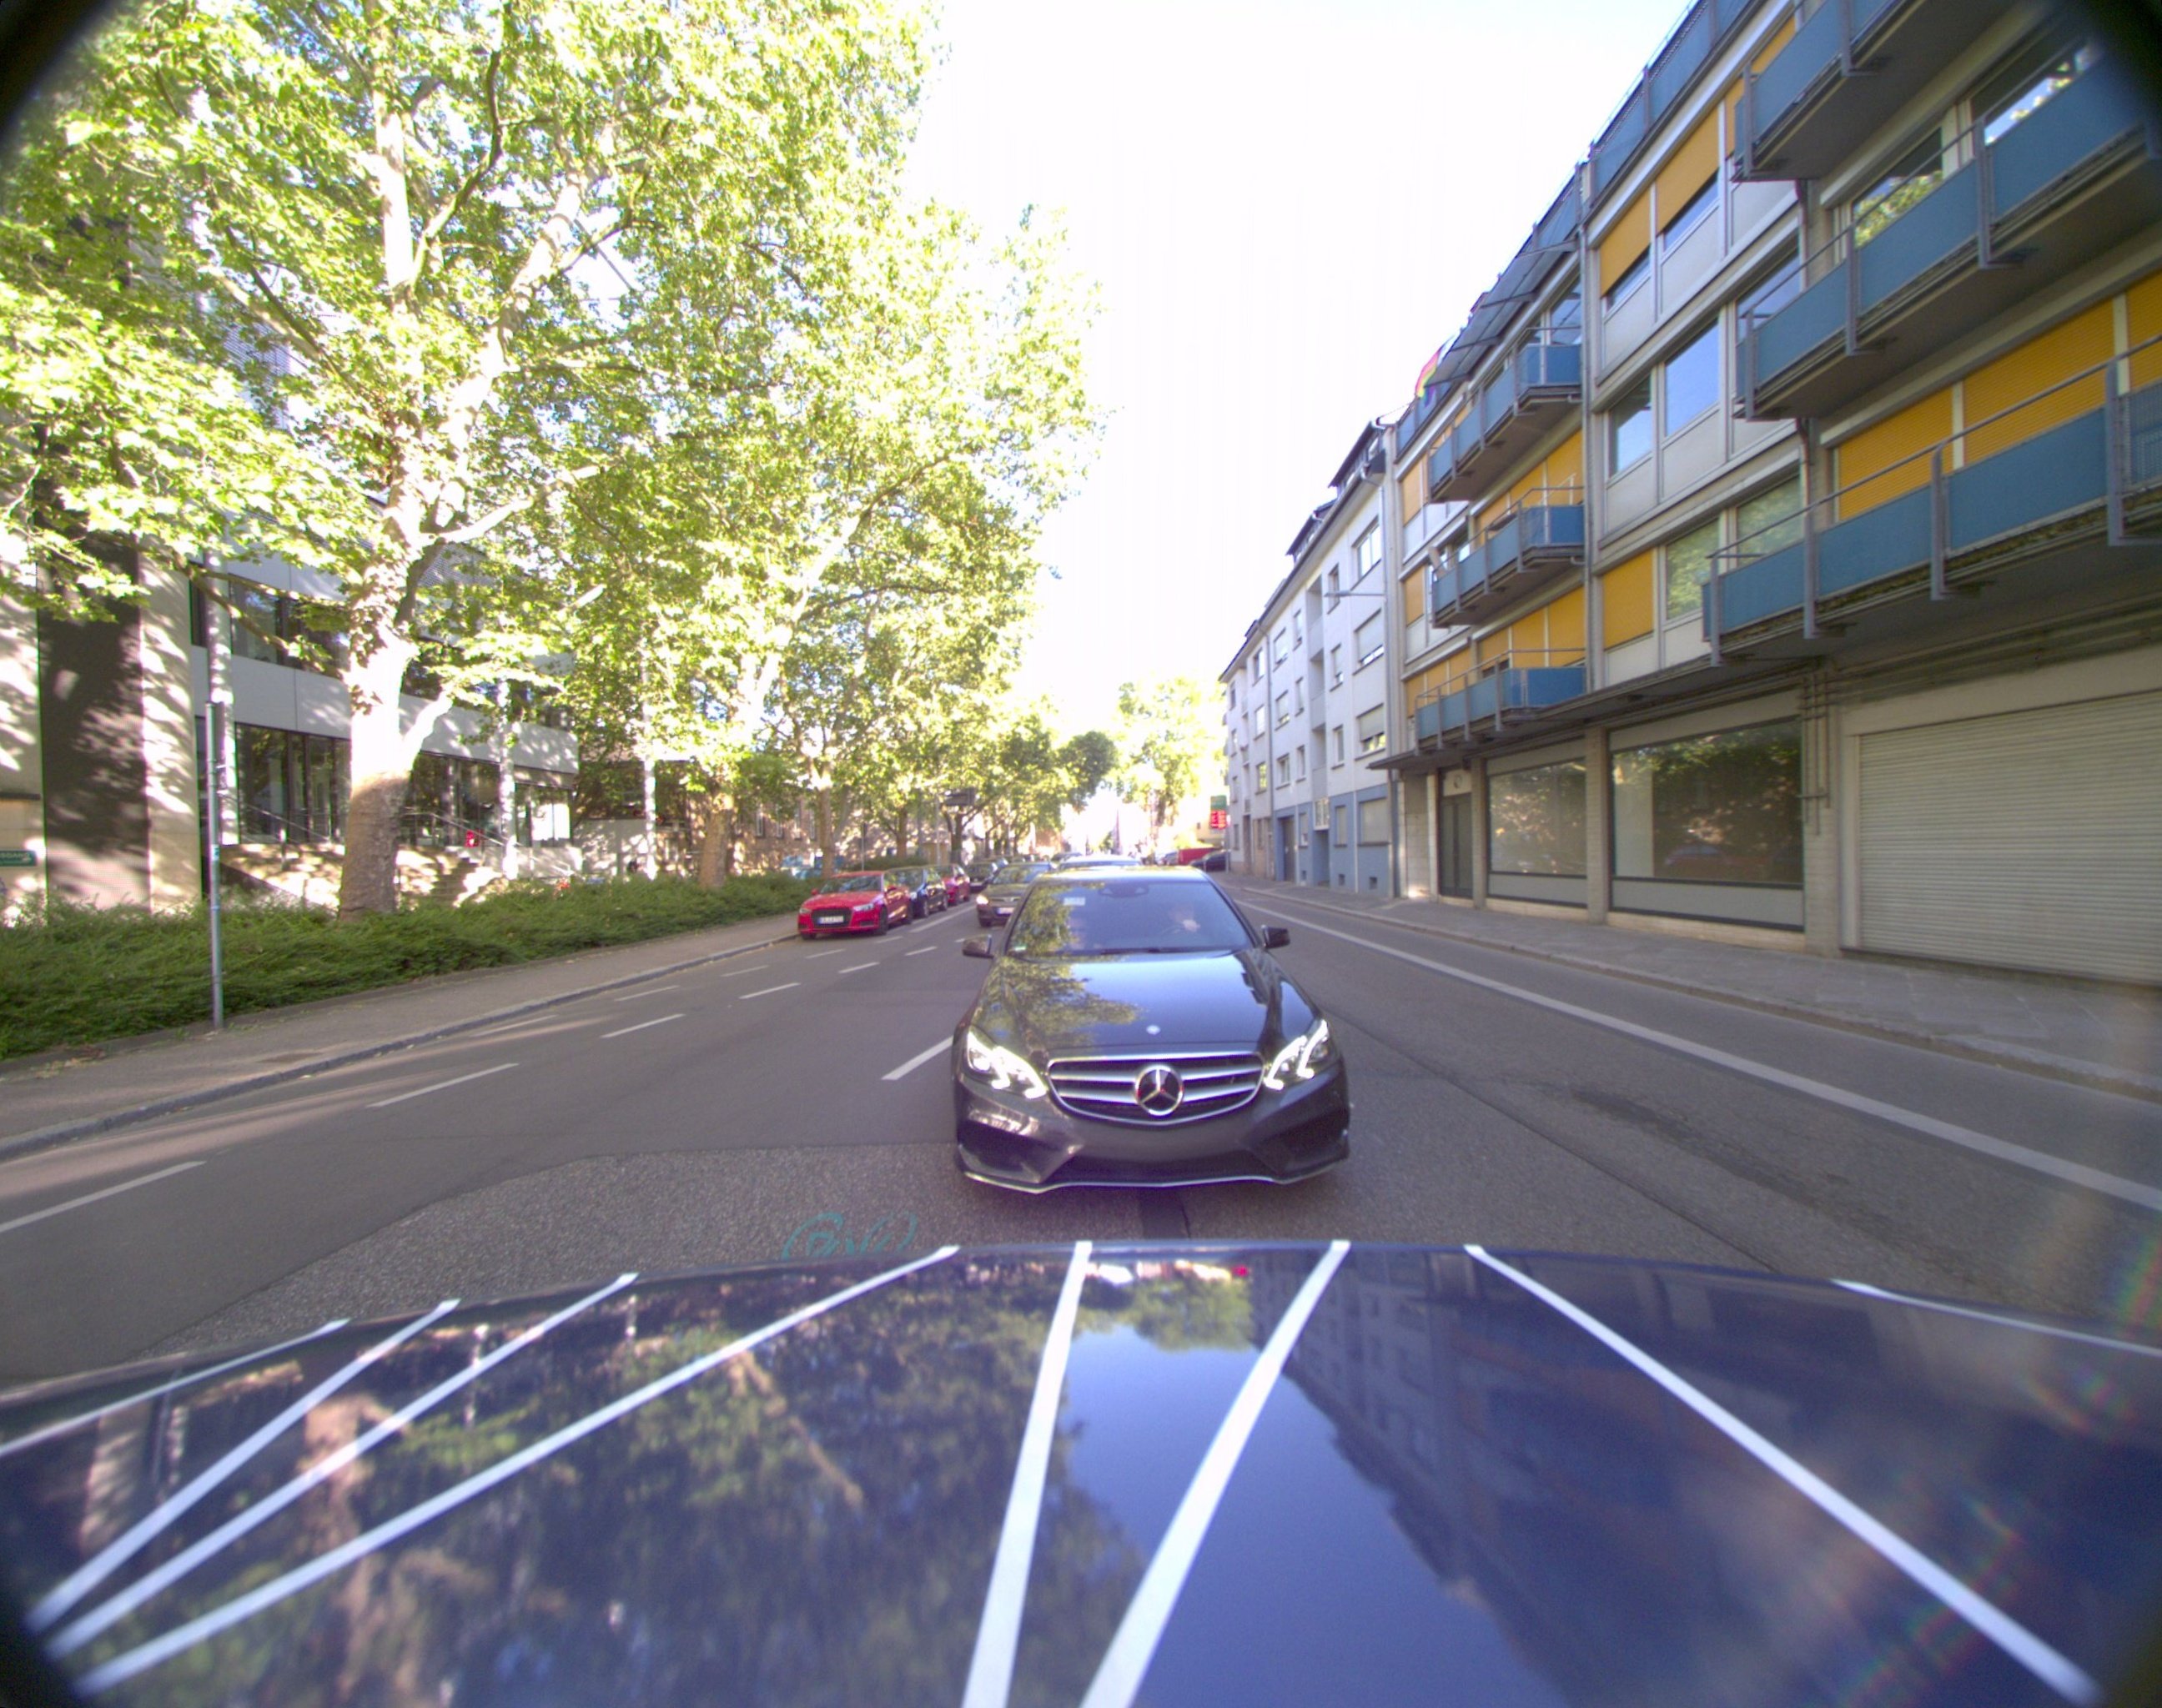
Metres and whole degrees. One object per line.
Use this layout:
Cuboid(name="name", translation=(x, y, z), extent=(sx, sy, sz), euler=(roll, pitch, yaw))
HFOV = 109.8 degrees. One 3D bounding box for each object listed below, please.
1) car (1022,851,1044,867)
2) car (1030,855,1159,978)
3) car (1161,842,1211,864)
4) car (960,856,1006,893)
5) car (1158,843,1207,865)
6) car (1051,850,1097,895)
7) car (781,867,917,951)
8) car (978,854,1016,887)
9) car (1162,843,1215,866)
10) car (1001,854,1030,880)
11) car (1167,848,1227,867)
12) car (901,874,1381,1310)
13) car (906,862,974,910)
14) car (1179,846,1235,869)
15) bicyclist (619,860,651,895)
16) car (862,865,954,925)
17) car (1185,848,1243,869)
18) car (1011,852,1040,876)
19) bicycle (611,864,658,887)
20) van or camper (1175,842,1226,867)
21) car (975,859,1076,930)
Cuboid(name="car", translation=(-4.391, 0.448, 70.449), extent=(1.741, 1.469, 4.091), euler=(-2, 0, 0))
Cuboid(name="car", translation=(0.217, 0.849, 12.534), extent=(1.646, 1.520, 4.619), euler=(-4, 0, 1))
Cuboid(name="car", translation=(11.026, -0.086, 80.196), extent=(4.991, 2.181, 2.000), euler=(-2, 1, 1))
Cuboid(name="car", translation=(-4.764, 0.953, 37.428), extent=(1.741, 1.622, 4.091), euler=(-2, 0, 0))
Cuboid(name="car", translation=(11.029, 0.007, 82.827), extent=(4.991, 2.181, 2.000), euler=(-2, 1, 1))
Cuboid(name="car", translation=(-0.252, 0.748, 33.749), extent=(1.785, 1.760, 4.384), euler=(-4, 0, 2))
Cuboid(name="car", translation=(-5.207, 1.160, 17.677), extent=(1.830, 1.519, 4.142), euler=(-4, 0, 0))
Cuboid(name="car", translation=(-4.630, 0.890, 42.410), extent=(1.634, 1.677, 3.907), euler=(-2, 0, 0))
Cuboid(name="car", translation=(10.906, 0.041, 77.344), extent=(4.991, 2.181, 2.000), euler=(-2, 1, 1))
Cuboid(name="car", translation=(-4.686, 0.897, 54.848), extent=(1.741, 1.785, 3.895), euler=(-2, 0, 0))
Cuboid(name="car", translation=(10.153, 0.298, 66.706), extent=(4.990, 1.486, 2.000), euler=(-2, 0, 1))
Cuboid(name="car", translation=(0.220, 0.936, 4.750), extent=(1.740, 1.448, 3.864), euler=(-2, 0, 0))
Cuboid(name="car", translation=(-5.027, 1.100, 27.619), extent=(1.681, 1.484, 3.918), euler=(-4, 0, 0))
Cuboid(name="car", translation=(10.131, 0.282, 61.297), extent=(4.146, 1.681, 2.000), euler=(-2, 0, 1))
Cuboid(name="bicyclist", translation=(-21.031, 1.093, 35.869), extent=(1.036, 1.610, 0.698), euler=(-2, 1, 9))
Cuboid(name="car", translation=(-5.033, 1.141, 22.636), extent=(1.741, 1.444, 4.091), euler=(-4, 0, 0))
Cuboid(name="car", translation=(10.308, 0.337, 58.966), extent=(4.146, 1.486, 2.000), euler=(-2, 0, 1))
Cuboid(name="car", translation=(-4.330, 0.733, 59.852), extent=(1.992, 1.795, 4.376), euler=(-2, 0, 0))
Cuboid(name="bicycle", translation=(-21.084, 1.006, 35.872), extent=(1.797, 1.009, 0.735), euler=(-2, 1, 9))
Cuboid(name="van or camper", translation=(10.052, 0.037, 64.204), extent=(3.997, 2.002, 2.000), euler=(-2, 1, 0))
Cuboid(name="car", translation=(-1.244, 0.920, 18.711), extent=(1.647, 1.473, 3.978), euler=(-2, 0, 8))
